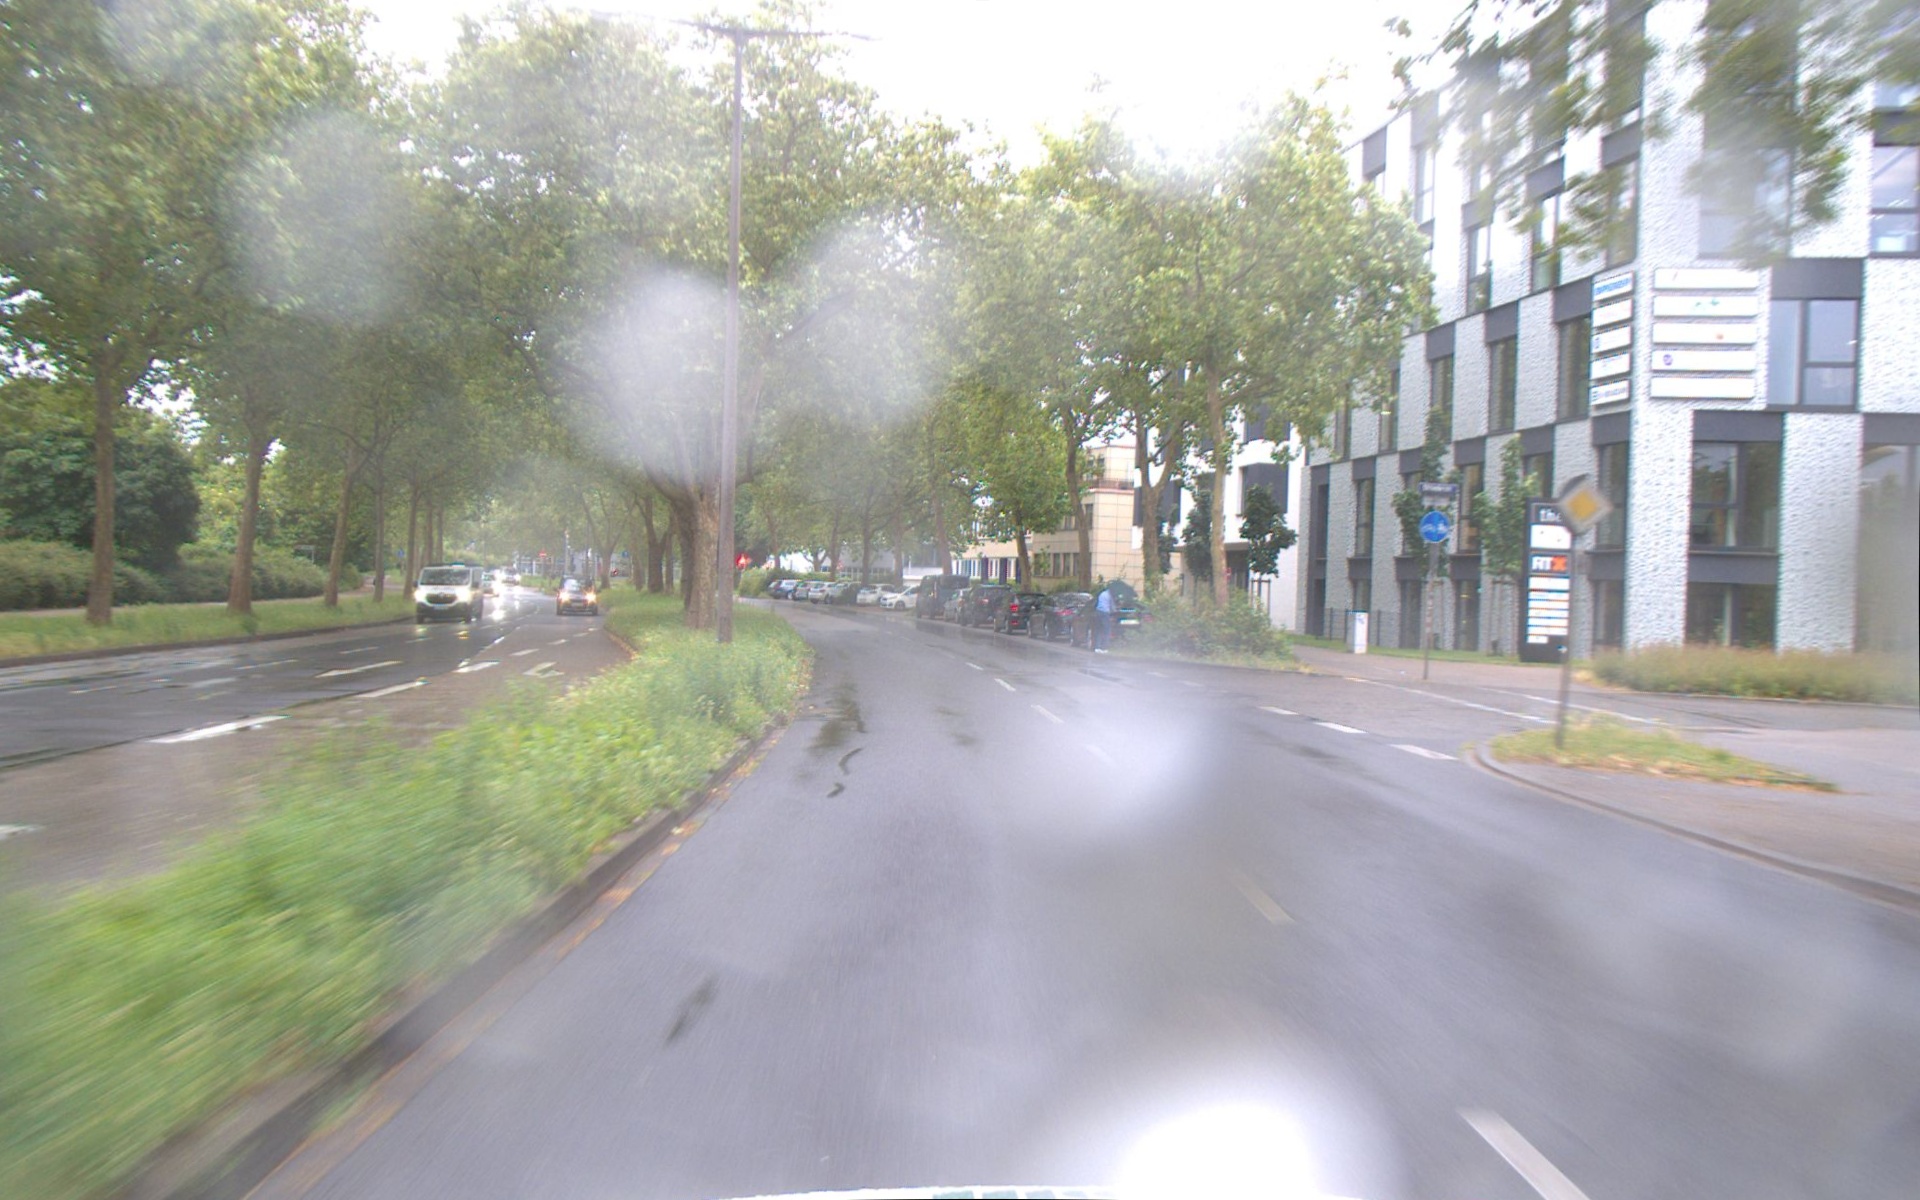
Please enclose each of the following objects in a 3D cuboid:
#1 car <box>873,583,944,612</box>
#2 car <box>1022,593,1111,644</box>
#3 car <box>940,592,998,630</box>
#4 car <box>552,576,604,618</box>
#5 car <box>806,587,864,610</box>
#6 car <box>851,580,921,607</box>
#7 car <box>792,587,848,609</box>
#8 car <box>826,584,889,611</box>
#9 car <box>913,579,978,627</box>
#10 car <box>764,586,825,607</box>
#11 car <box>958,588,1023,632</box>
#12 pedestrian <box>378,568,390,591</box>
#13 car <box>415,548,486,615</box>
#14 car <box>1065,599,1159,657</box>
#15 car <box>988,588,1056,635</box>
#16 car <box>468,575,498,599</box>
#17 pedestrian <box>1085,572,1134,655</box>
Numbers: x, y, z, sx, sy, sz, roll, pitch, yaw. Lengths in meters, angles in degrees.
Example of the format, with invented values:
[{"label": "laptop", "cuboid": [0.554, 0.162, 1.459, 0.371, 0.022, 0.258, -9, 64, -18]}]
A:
[{"label": "car", "cuboid": [-2.906, -0.134, 93.657, 3.595, 1.530, 1.732, 1, 1, -30]}, {"label": "car", "cuboid": [3.219, 0.536, 50.935, 1.711, 1.453, 5.094, 2, 0, -8]}, {"label": "car", "cuboid": [0.359, 0.445, 70.648, 1.711, 1.495, 4.296, 2, 0, -10]}, {"label": "car", "cuboid": [-17.155, -0.155, 74.108, 1.997, 1.767, 4.933, 2, 0, -16]}, {"label": "car", "cuboid": [-8.434, -0.075, 111.712, 3.661, 1.441, 1.722, 2, 0, -42]}, {"label": "car", "cuboid": [-4.374, -0.376, 97.843, 1.720, 1.453, 4.009, 2, 0, 44]}, {"label": "car", "cuboid": [-9.896, -0.118, 117.078, 1.746, 1.441, 3.667, 2, 0, 44]}, {"label": "car", "cuboid": [-6.601, -0.157, 106.882, 1.719, 1.566, 4.012, 2, 0, 43]}, {"label": "car", "cuboid": [-0.708, 0.101, 75.871, 2.083, 2.063, 5.515, 2, 0, -10]}, {"label": "car", "cuboid": [-12.529, -0.251, 125.611, 4.457, 1.484, 1.722, 2, 0, -42]}, {"label": "car", "cuboid": [1.143, 0.364, 63.877, 1.711, 1.594, 4.361, 2, 0, -10]}, {"label": "pedestrian", "cuboid": [-42.105, -1.504, 120.909, 0.818, 1.703, 0.894, 2, 0, -21]}, {"label": "car", "cuboid": [-18.342, -0.652, 59.706, 1.995, 2.265, 5.416, 2, 0, -13]}, {"label": "car", "cuboid": [4.028, 0.707, 44.438, 1.709, 1.453, 4.855, 0, 0, -5]}, {"label": "car", "cuboid": [2.101, 0.362, 56.924, 1.710, 1.502, 4.076, 2, 0, -7]}, {"label": "car", "cuboid": [-33.521, -0.897, 116.173, 1.717, 1.588, 4.344, 2, 0, -19]}, {"label": "pedestrian", "cuboid": [3.766, 0.348, 41.670, 0.893, 2.049, 0.820, 2, 0, -44]}]
